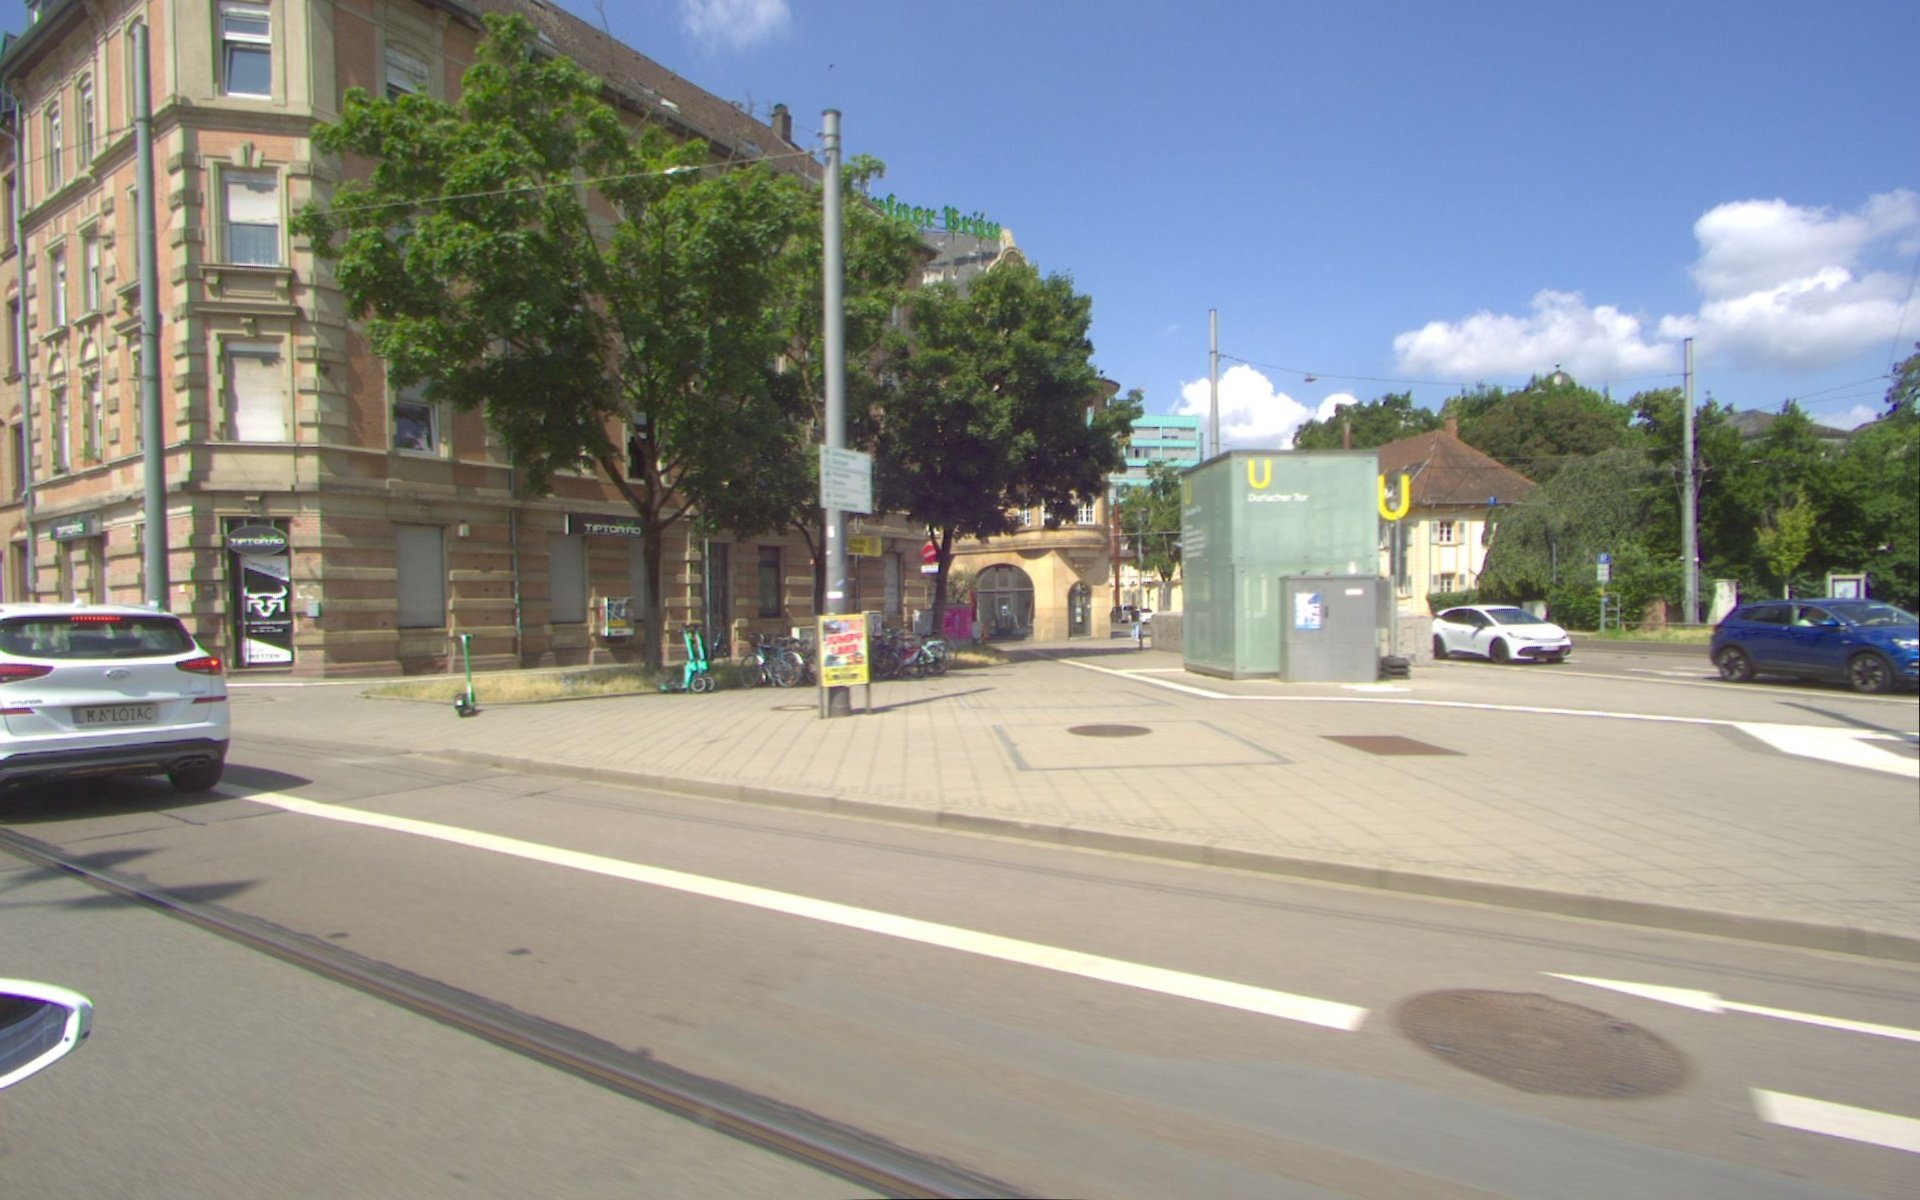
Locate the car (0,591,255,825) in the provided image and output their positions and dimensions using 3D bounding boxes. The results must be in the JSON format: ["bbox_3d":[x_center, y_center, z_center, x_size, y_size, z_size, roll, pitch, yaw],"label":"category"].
[{"bbox_3d":[-8.209,0.788,8.749,4.119,1.655,1.849,-1,0,31],"label":"car"}]

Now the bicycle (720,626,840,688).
[{"bbox_3d":[-3.508,1.080,19.482,2.234,1.096,1.021,-1,1,36],"label":"bicycle"}]

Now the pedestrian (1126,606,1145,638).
[{"bbox_3d":[8.923,1.114,50.881,0.880,1.579,0.864,-1,0,4],"label":"pedestrian"}]

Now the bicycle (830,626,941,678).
[{"bbox_3d":[-1.676,1.127,22.207,2.540,1.068,0.789,-1,1,36],"label":"bicycle"}]

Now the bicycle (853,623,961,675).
[{"bbox_3d":[-1.244,1.105,22.991,2.540,1.105,0.789,-1,1,36],"label":"bicycle"}]

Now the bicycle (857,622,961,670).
[{"bbox_3d":[-1.249,1.086,24.050,2.540,1.068,0.789,-1,1,36],"label":"bicycle"}]

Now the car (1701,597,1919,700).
[{"bbox_3d":[15.949,0.774,17.940,1.838,1.571,4.426,-3,0,-4],"label":"car"}]

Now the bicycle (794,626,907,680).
[{"bbox_3d":[-2.382,1.125,21.637,2.540,1.084,0.789,-1,1,36],"label":"bicycle"}]

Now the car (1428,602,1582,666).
[{"bbox_3d":[14.818,0.889,27.491,1.901,1.586,3.995,-1,0,-3],"label":"car"}]

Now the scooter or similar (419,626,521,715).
[{"bbox_3d":[-7.102,0.991,14.517,1.073,1.195,0.943,-1,1,40],"label":"scooter or similar"}]

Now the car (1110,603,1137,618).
[{"bbox_3d":[16.586,1.061,101.870,1.649,1.405,3.793,0,0,-9],"label":"car"}]

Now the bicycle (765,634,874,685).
[{"bbox_3d":[-2.894,1.191,20.483,2.257,0.892,0.839,1,2,36],"label":"bicycle"}]

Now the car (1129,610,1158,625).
[{"bbox_3d":[17.735,1.703,96.952,1.649,1.405,3.794,-1,0,-9],"label":"car"}]

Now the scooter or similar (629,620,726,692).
[{"bbox_3d":[-5.087,0.996,18.043,1.368,1.219,0.947,-1,1,27],"label":"scooter or similar"}]

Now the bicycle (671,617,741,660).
[{"bbox_3d":[-6.696,1.002,26.471,0.756,1.064,1.638,0,0,41],"label":"bicycle"}]
